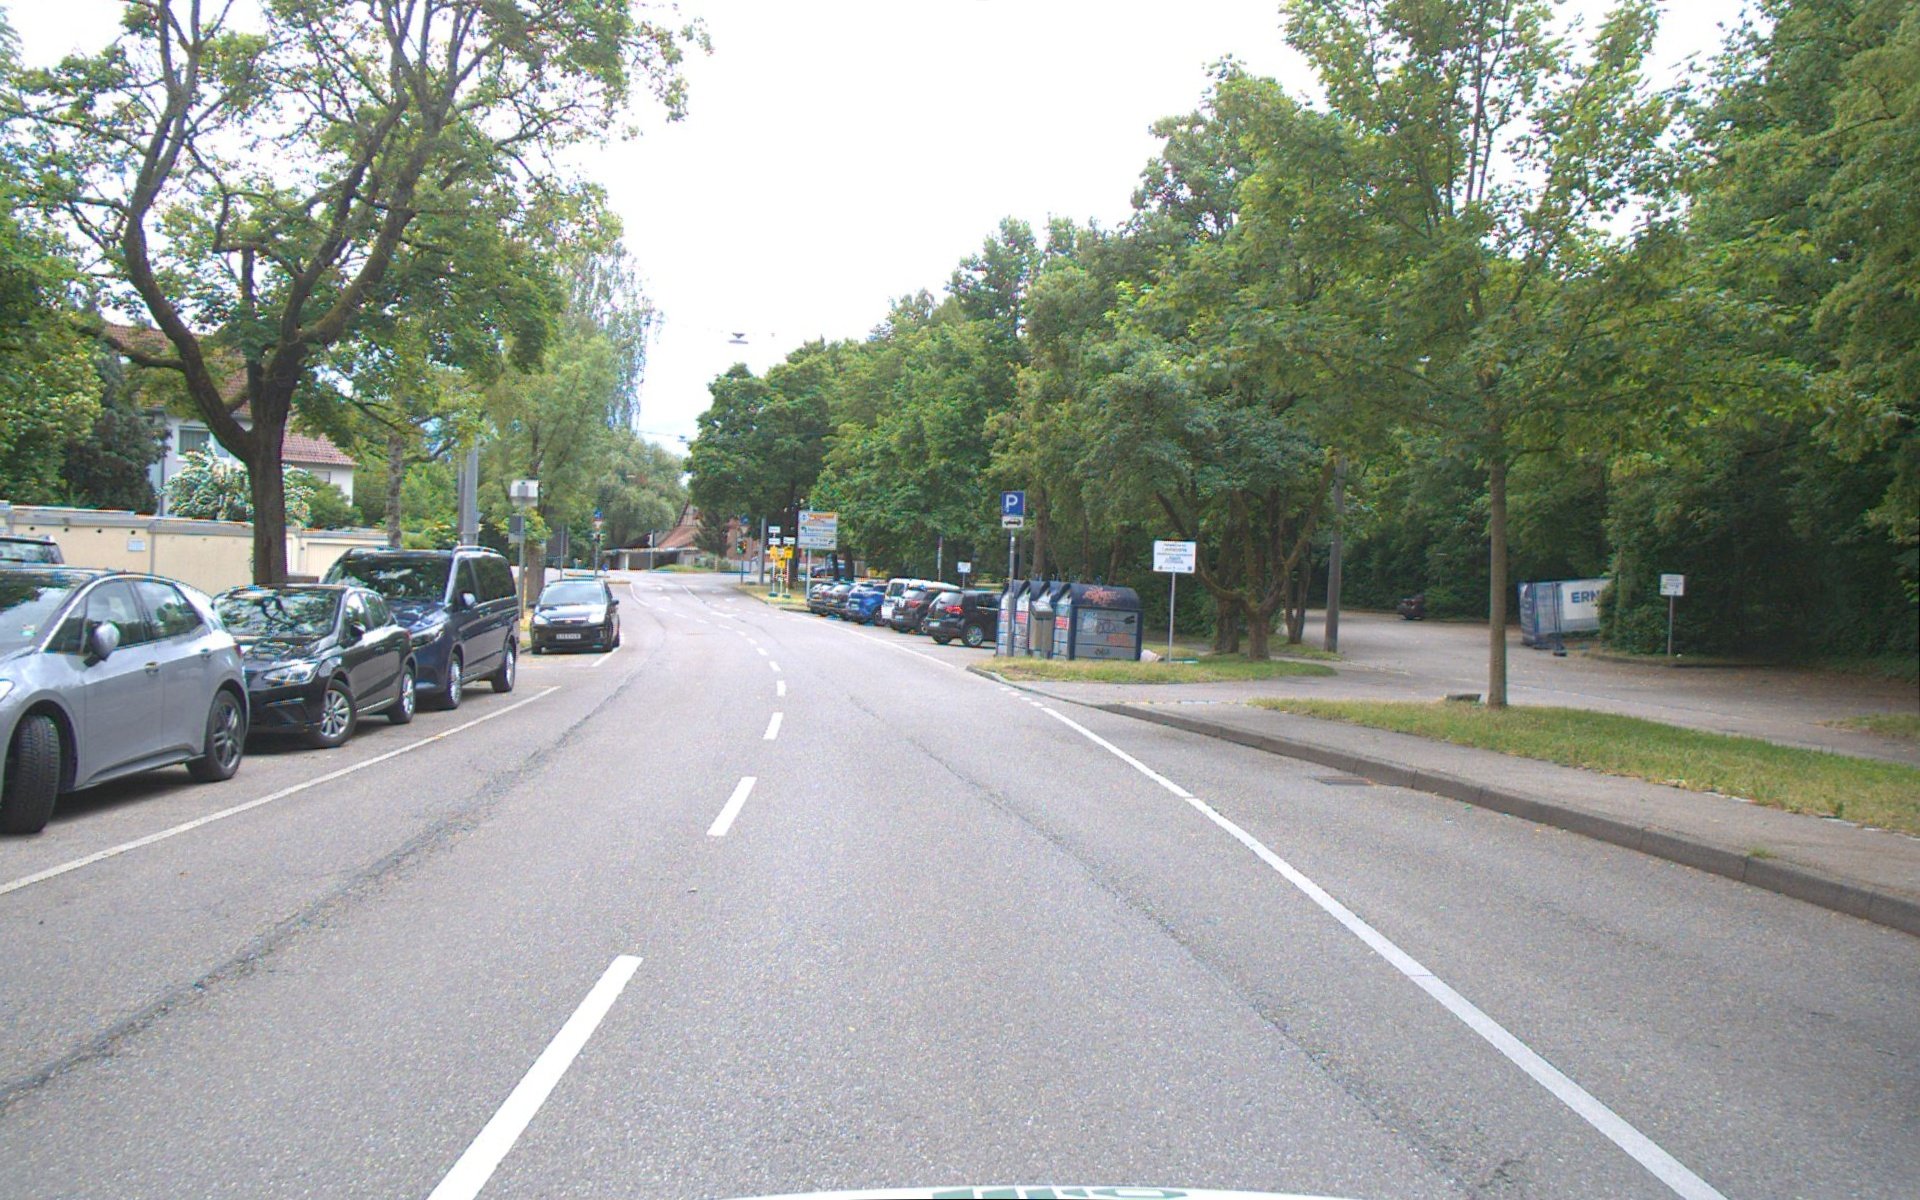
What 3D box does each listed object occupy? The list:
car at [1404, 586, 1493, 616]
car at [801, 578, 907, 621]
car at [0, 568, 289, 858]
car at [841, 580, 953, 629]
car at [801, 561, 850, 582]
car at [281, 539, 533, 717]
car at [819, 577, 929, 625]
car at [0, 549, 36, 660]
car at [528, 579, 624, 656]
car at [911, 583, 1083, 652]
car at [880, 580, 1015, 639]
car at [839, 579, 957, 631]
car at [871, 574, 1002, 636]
[{"bbox_3d":[24.618,0.052,83.423,3.909,1.434,1.798,1,0,-5],"label":"car"},{"bbox_3d":[-4.250,-0.009,66.486,3.833,1.451,1.812,4,-1,-30],"label":"car"},{"bbox_3d":[-6.161,0.576,10.981,1.829,1.565,4.225,1,0,-3],"label":"car"},{"bbox_3d":[-2.338,0.175,61.628,3.779,1.555,1.729,4,-1,-31],"label":"car"},{"bbox_3d":[-11.658,-2.479,143.264,3.808,1.676,1.979,1,1,-32],"label":"car"},{"bbox_3d":[-6.813,0.294,20.970,1.821,1.942,5.078,1,0,-5],"label":"car"},{"bbox_3d":[-3.289,0.055,63.467,3.779,1.555,1.729,4,-1,-31],"label":"car"},{"bbox_3d":[-14.353,-0.025,23.390,1.750,1.503,3.961,5,-1,-24],"label":"car"},{"bbox_3d":[-8.600,0.349,37.341,1.771,1.590,4.258,-2,1,-9],"label":"car"},{"bbox_3d":[0.971,0.458,43.198,3.945,1.438,2.038,4,1,-30],"label":"car"},{"bbox_3d":[-0.383,0.295,51.448,3.779,1.493,1.729,4,0,-31],"label":"car"},{"bbox_3d":[-2.192,0.193,58.661,3.779,1.555,1.729,4,-1,-31],"label":"car"},{"bbox_3d":[-0.764,0.171,54.108,3.779,1.750,1.859,4,-1,-30],"label":"car"}]
